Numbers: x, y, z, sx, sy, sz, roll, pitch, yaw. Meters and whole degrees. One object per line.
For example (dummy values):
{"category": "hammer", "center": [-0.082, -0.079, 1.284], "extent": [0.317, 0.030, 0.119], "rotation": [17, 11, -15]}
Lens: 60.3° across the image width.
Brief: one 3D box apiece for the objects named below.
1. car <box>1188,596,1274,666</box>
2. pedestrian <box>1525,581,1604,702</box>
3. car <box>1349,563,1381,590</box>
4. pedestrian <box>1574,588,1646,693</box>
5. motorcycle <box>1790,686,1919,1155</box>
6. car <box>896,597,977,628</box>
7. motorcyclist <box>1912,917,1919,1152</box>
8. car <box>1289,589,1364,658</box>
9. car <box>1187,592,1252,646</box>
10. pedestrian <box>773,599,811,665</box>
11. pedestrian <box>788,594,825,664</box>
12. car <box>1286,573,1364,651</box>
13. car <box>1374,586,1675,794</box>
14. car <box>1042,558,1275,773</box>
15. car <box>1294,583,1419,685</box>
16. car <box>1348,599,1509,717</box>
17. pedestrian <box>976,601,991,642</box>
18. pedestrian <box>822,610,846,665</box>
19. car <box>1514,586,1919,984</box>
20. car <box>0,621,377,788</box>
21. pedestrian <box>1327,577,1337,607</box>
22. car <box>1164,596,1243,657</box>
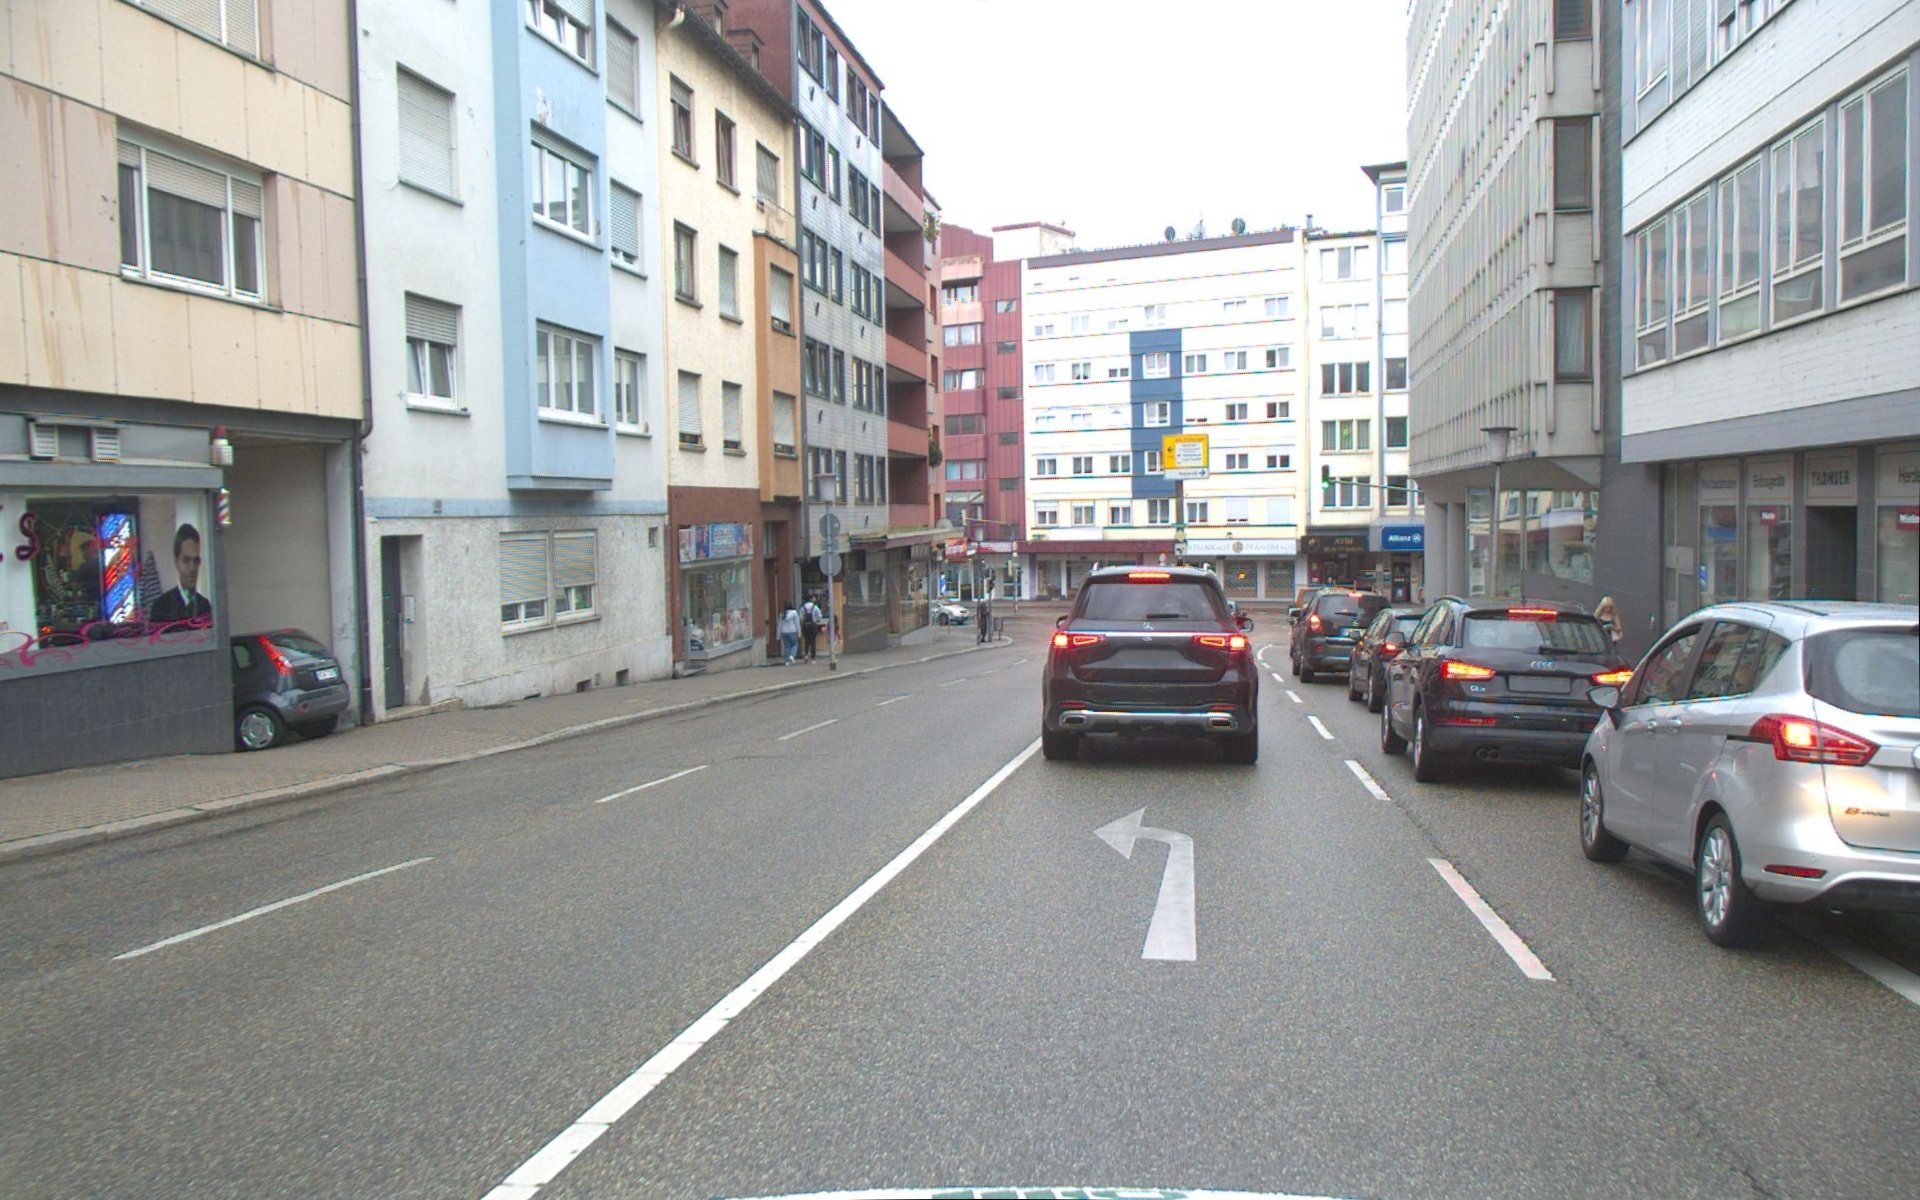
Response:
{"category": "car", "center": [6.260, 0.679, 38.619], "extent": [1.833, 1.521, 4.404], "rotation": [1, 0, 8]}
{"category": "pedestrian", "center": [9.075, 0.616, 24.879], "extent": [0.767, 1.735, 1.122], "rotation": [-3, -1, 6]}
{"category": "car", "center": [27.159, -1.564, 110.776], "extent": [1.759, 1.699, 4.002], "rotation": [-1, 0, 18]}
{"category": "pedestrian", "center": [10.106, 0.622, 25.742], "extent": [0.749, 1.578, 0.891], "rotation": [-3, -1, 6]}
{"category": "motorcycle", "center": [3.054, 0.922, 4.177], "extent": [0.827, 1.247, 2.374], "rotation": [2, 0, 4]}
{"category": "car", "center": [-1.302, 0.671, 90.384], "extent": [4.079, 1.620, 1.740], "rotation": [1, 1, 25]}
{"category": "motorcyclist", "center": [3.050, 0.728, 4.086], "extent": [0.827, 1.617, 0.963], "rotation": [2, 0, 4]}
{"category": "car", "center": [9.607, 0.621, 43.633], "extent": [1.784, 1.687, 4.499], "rotation": [1, -1, 11]}
{"category": "car", "center": [8.156, 0.627, 51.933], "extent": [1.884, 1.542, 4.666], "rotation": [2, -1, 9]}
{"category": "pedestrian", "center": [-4.070, 0.769, 40.123], "extent": [0.810, 1.588, 0.724], "rotation": [1, 0, 0]}
{"category": "pedestrian", "center": [-3.817, 0.720, 41.226], "extent": [0.810, 1.719, 0.724], "rotation": [1, 0, 0]}
{"category": "car", "center": [11.300, 0.362, 51.116], "extent": [2.194, 2.267, 5.433], "rotation": [1, 0, 13]}
{"category": "car", "center": [5.016, 0.722, 15.274], "extent": [1.784, 1.587, 4.204], "rotation": [2, 0, 7]}
{"category": "car", "center": [2.017, 0.551, 16.656], "extent": [1.995, 1.830, 4.666], "rotation": [1, 0, 8]}
{"category": "car", "center": [7.489, 0.601, 31.604], "extent": [1.857, 1.724, 4.509], "rotation": [2, 0, 8]}
{"category": "car", "center": [6.763, 0.770, 24.232], "extent": [1.652, 1.503, 4.003], "rotation": [2, 0, 7]}
{"category": "pedestrian", "center": [0.996, 0.897, 69.528], "extent": [0.542, 1.727, 0.624], "rotation": [-1, 0, 6]}
{"category": "pedestrian", "center": [-3.140, 0.924, 41.230], "extent": [0.522, 1.346, 0.724], "rotation": [1, 0, 0]}
{"category": "car", "center": [4.377, 0.760, 8.719], "extent": [1.788, 1.568, 4.255], "rotation": [3, 0, 6]}
{"category": "car", "center": [-9.408, 1.237, 20.065], "extent": [3.907, 1.372, 1.679], "rotation": [-8, 2, 2]}
{"category": "pedestrian", "center": [22.207, -0.491, 98.708], "extent": [0.552, 1.717, 0.757], "rotation": [-1, 6, 15]}
{"category": "car", "center": [6.540, 0.665, 44.265], "extent": [1.951, 1.512, 4.240], "rotation": [-1, 0, 9]}
